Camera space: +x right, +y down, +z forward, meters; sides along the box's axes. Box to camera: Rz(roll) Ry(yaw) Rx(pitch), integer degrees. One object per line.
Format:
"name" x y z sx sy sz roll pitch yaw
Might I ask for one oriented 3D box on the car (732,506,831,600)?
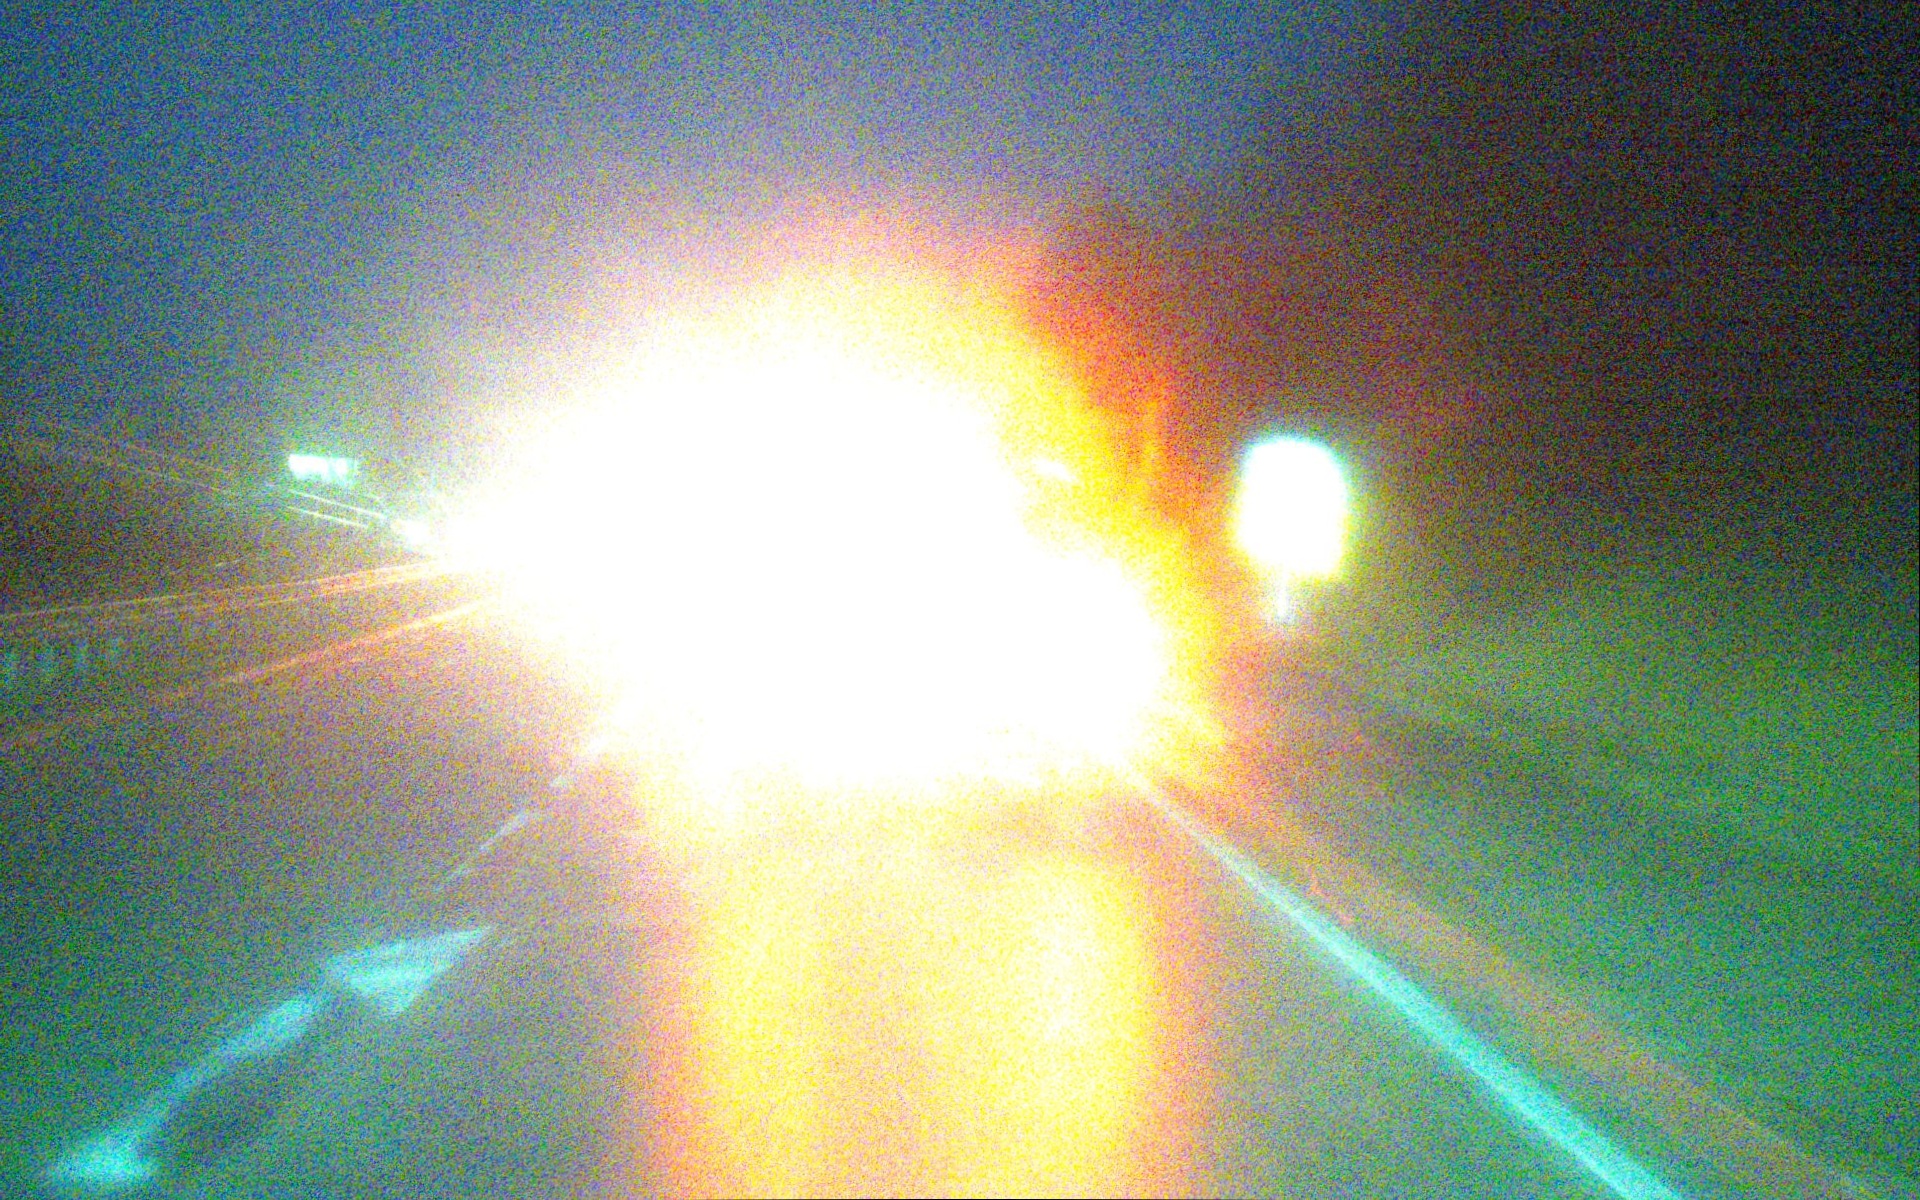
"car" -3.852 -1.028 74.763 1.993 1.908 4.000 2 1 -2

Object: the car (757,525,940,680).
"car" -1.383 -0.023 40.577 1.879 1.575 4.786 5 1 -4

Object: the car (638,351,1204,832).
"car" -0.257 -0.117 19.726 2.715 2.299 6.101 1 1 -1
